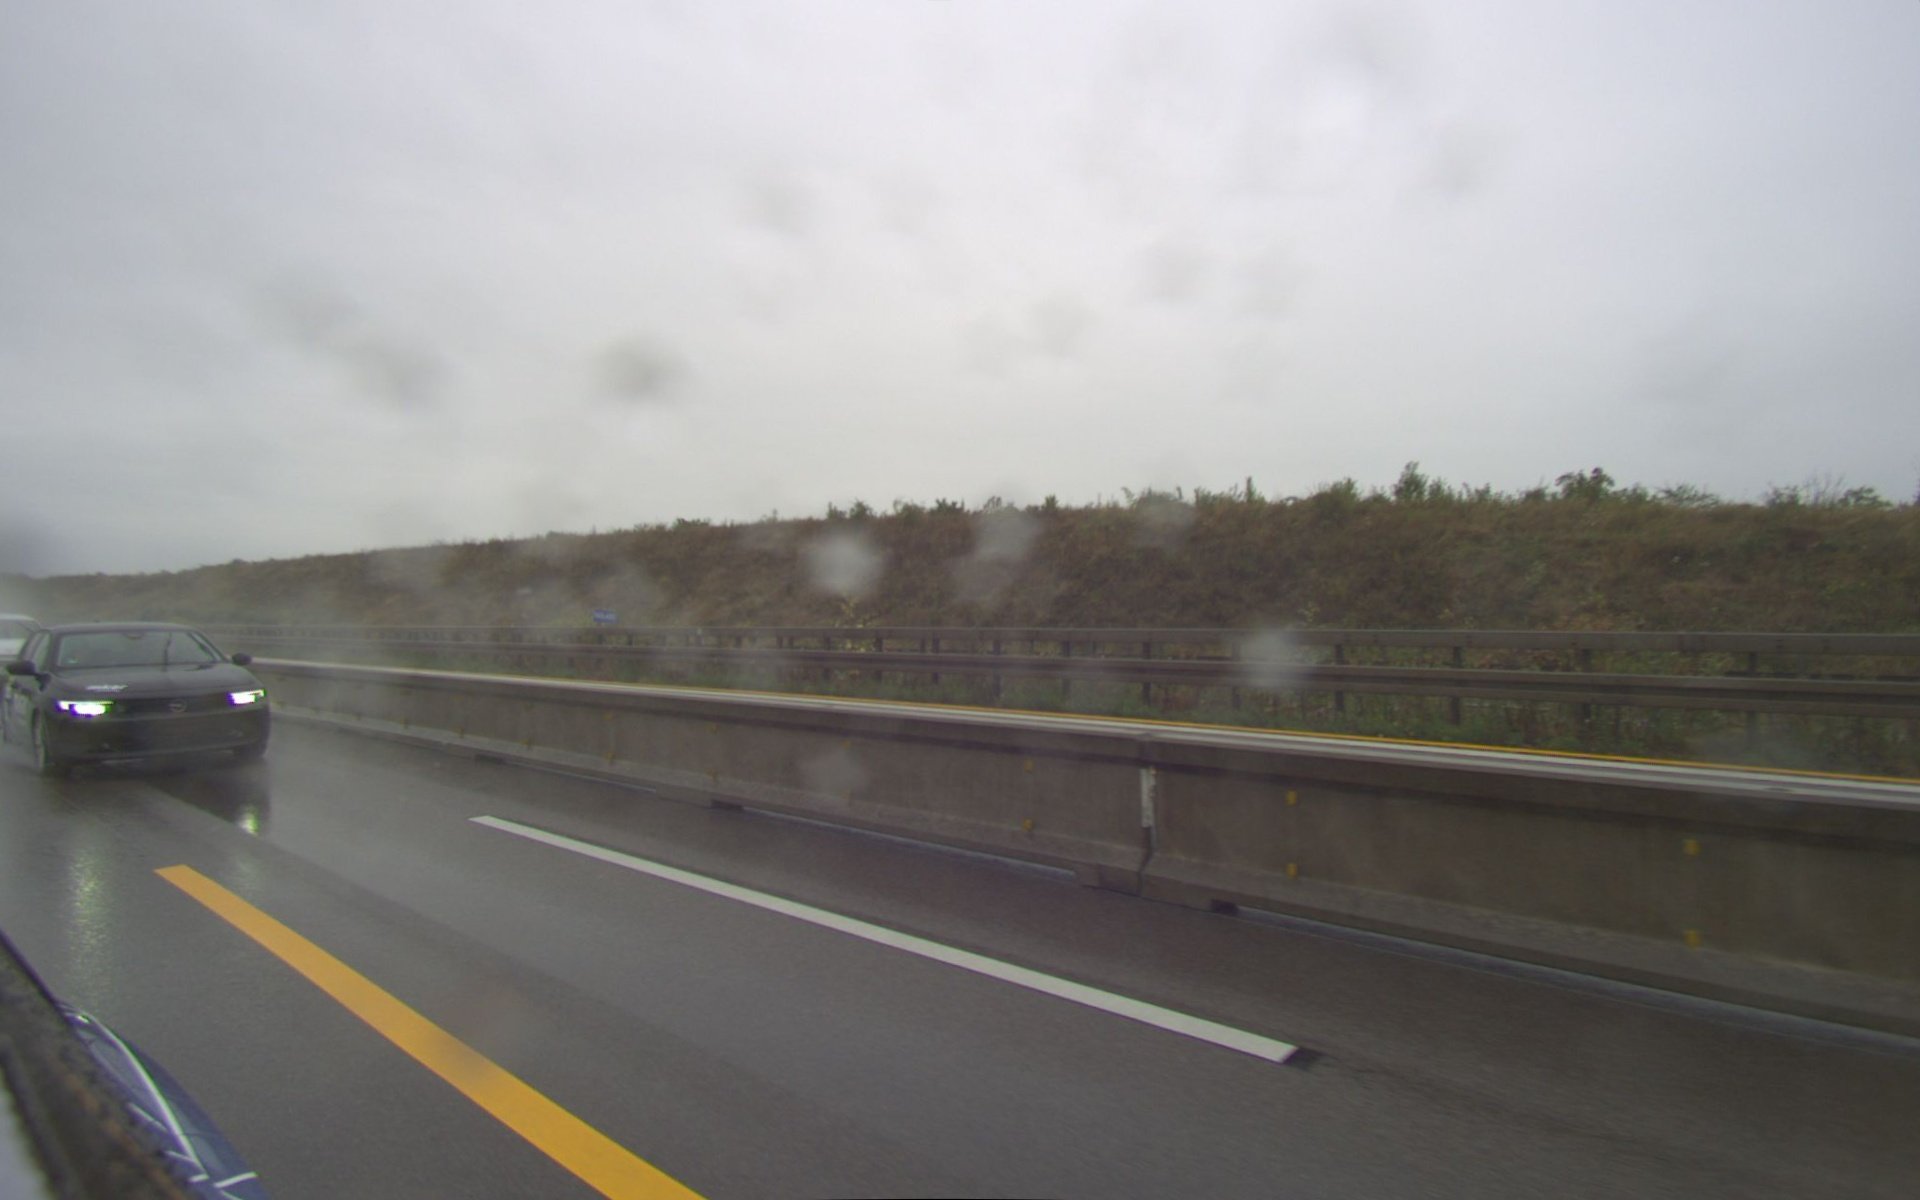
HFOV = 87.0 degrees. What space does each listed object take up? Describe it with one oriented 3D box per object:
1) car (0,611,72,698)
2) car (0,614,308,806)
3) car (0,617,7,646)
[{"bbox_3d":[-20.124,1.081,21.071,3.998,1.693,1.946,-1,0,41],"label":"car"},{"bbox_3d":[-8.681,0.927,10.540,4.793,1.539,1.919,-1,0,41],"label":"car"},{"bbox_3d":[-53.841,1.744,55.615,4.949,1.539,1.742,-1,0,42],"label":"car"}]
